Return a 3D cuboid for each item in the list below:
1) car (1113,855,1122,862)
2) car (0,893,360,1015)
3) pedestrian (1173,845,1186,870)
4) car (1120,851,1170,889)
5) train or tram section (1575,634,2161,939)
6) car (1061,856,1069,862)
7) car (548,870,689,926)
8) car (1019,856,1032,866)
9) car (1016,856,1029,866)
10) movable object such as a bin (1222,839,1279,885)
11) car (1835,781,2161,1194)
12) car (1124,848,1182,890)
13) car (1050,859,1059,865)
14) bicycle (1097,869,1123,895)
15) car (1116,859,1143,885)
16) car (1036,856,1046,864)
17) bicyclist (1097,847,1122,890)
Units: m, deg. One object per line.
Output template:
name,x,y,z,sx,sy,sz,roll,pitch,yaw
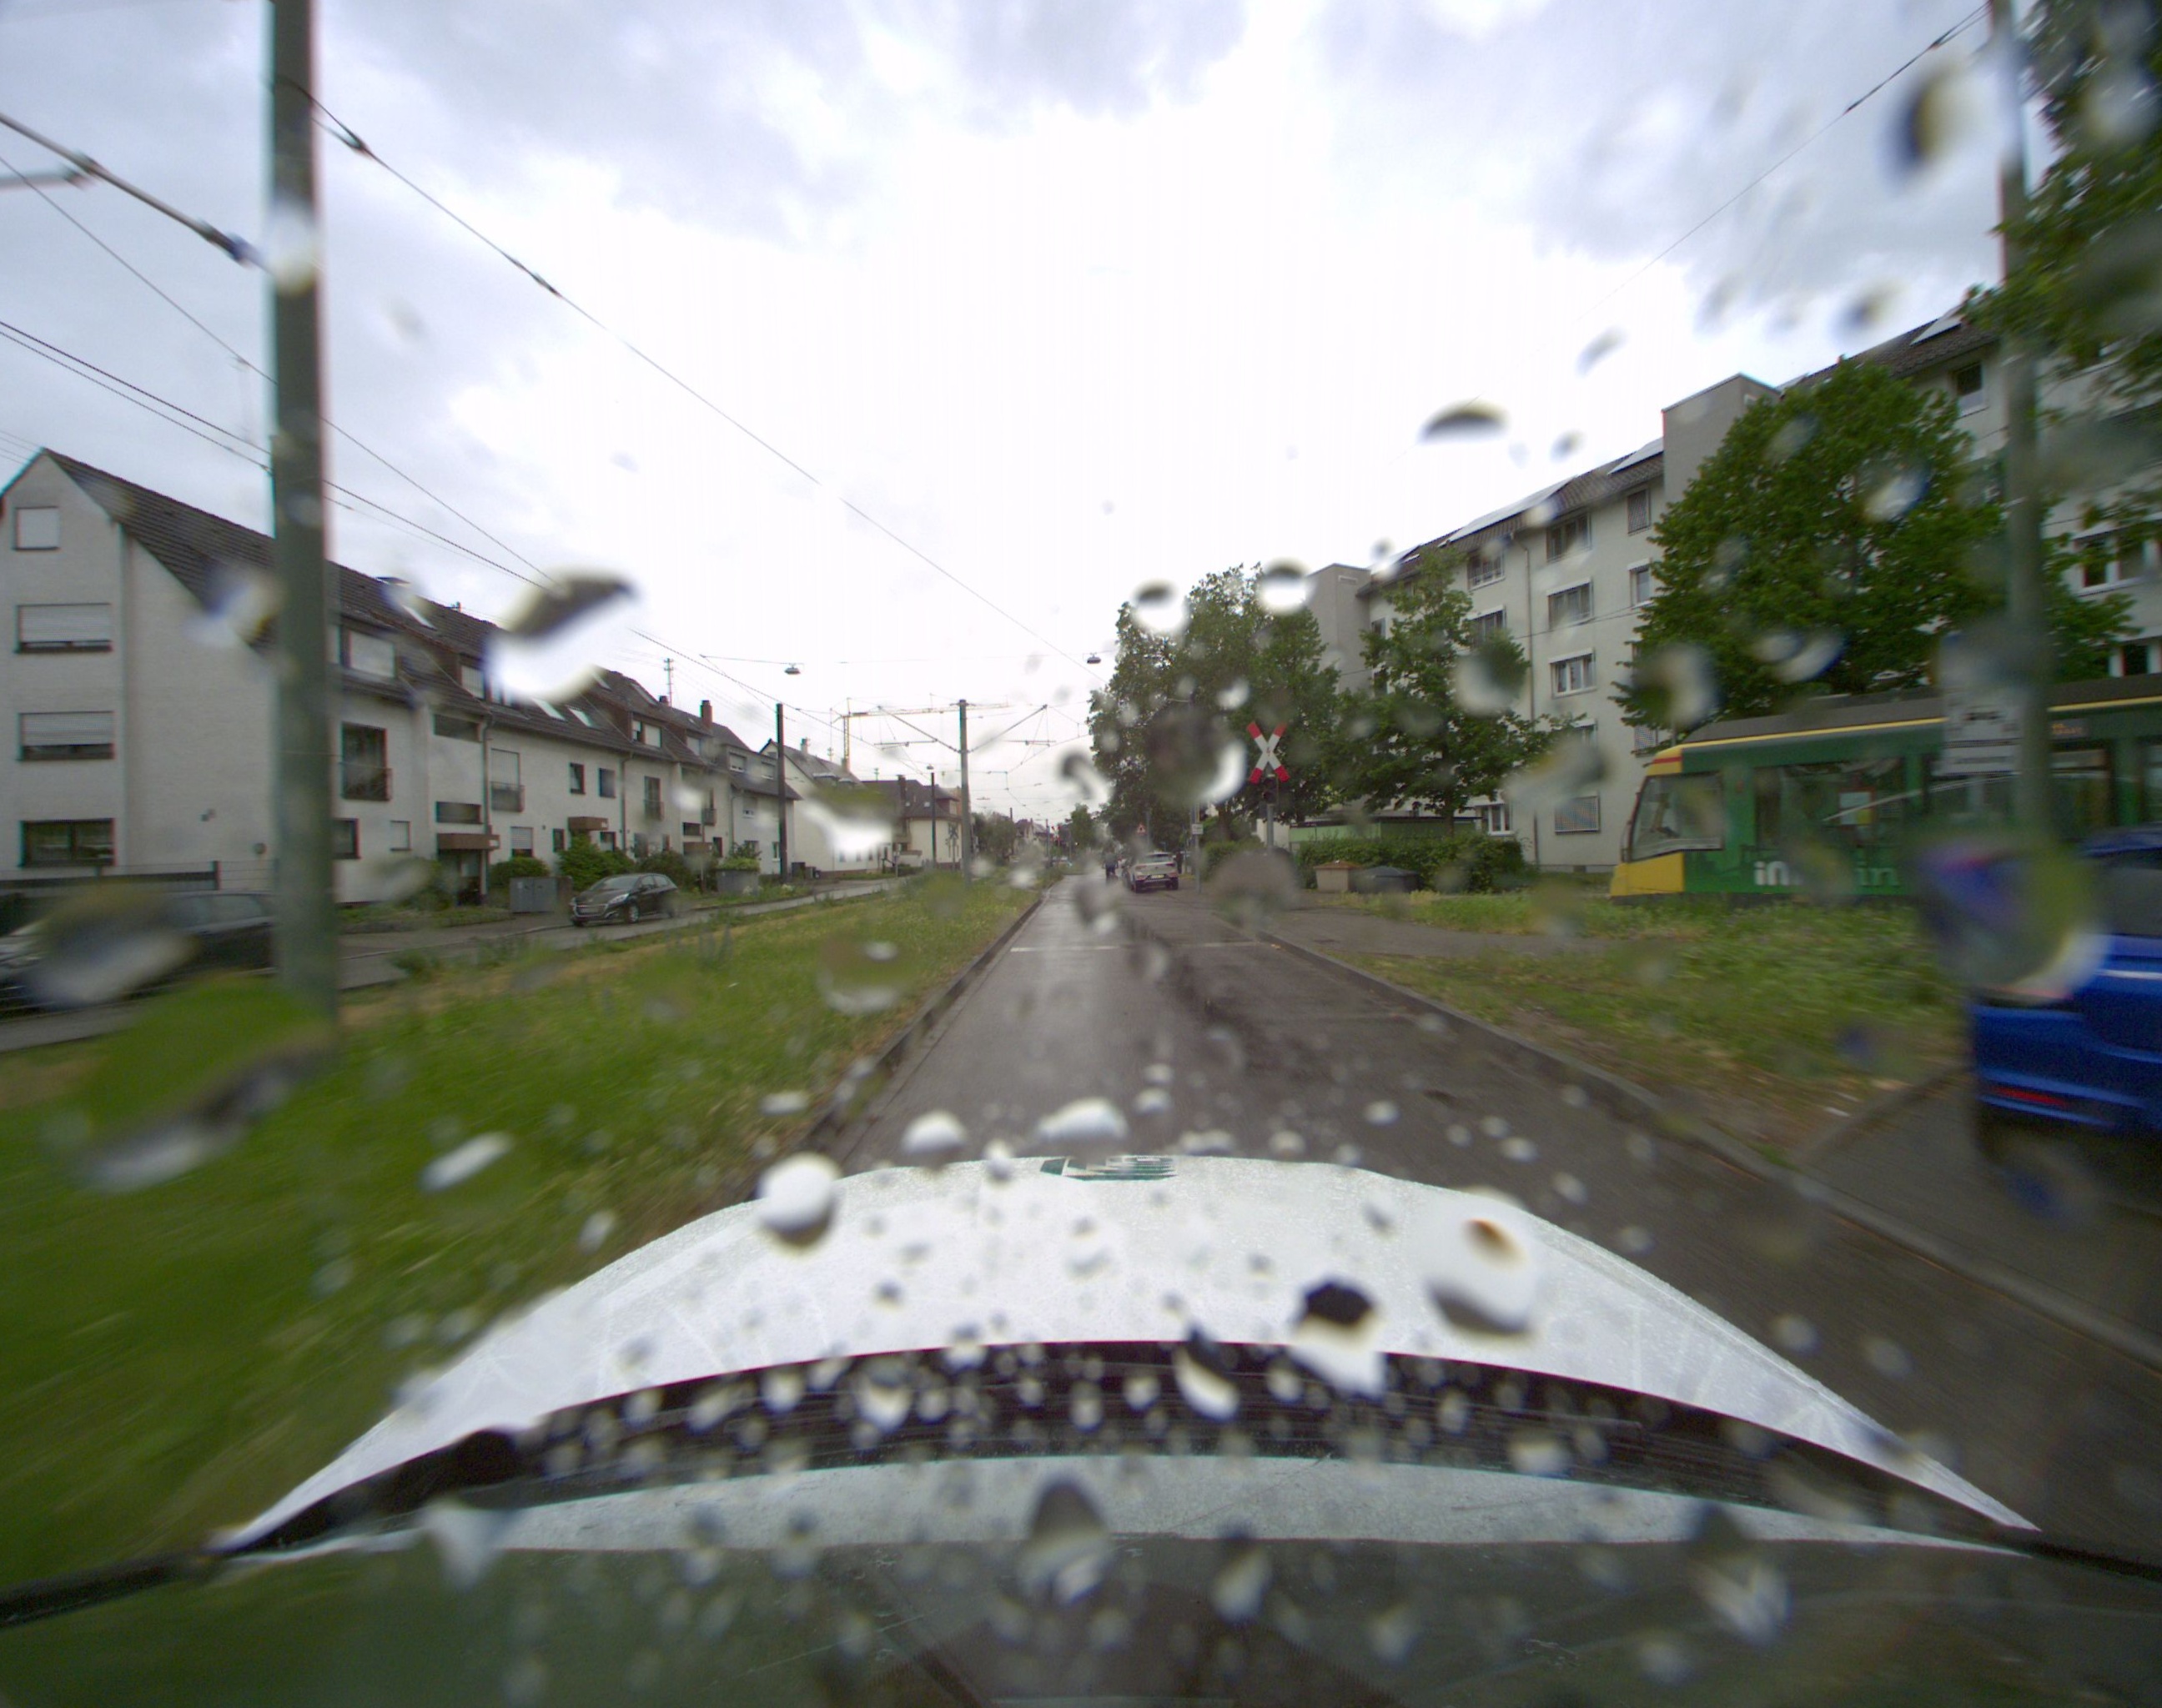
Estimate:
car,8.661,1.154,194.712,1.987,1.492,3.999,-2,-2,0
car,-13.726,1.352,12.235,1.595,1.424,4.666,-2,-2,1
pedestrian,6.957,0.261,57.714,0.745,1.716,0.750,-3,-1,0
car,3.037,0.764,39.272,1.936,1.652,3.998,-3,-1,-1
train or tram section,14.533,-0.817,9.681,2.730,3.590,14.558,1,-2,-43
car,-4.610,1.407,228.698,1.986,1.544,4.000,-2,-2,1
car,-13.799,1.302,24.614,1.871,1.503,4.132,-2,-2,0
car,-10.620,1.407,155.526,1.986,1.705,4.000,-2,-2,1
car,-10.803,1.304,150.386,1.986,1.544,4.000,-2,-2,1
movable object such as a bin,6.575,0.317,31.637,1.556,1.704,1.489,-2,0,-24
car,5.627,0.411,3.886,4.014,1.483,1.980,-2,1,-32
car,2.949,0.633,34.045,1.949,1.553,3.998,-3,-1,-1
car,-6.792,2.059,206.551,1.986,1.544,4.000,-2,-2,1
bicycle,1.082,1.046,30.778,0.819,0.912,1.983,-2,-1,-3
car,4.134,1.515,69.944,1.936,2.013,3.998,-3,-1,-1
car,-8.881,1.420,181.158,1.986,1.544,4.000,-2,-2,1
bicyclist,1.064,0.542,30.787,0.829,1.558,0.913,-2,-1,-3
